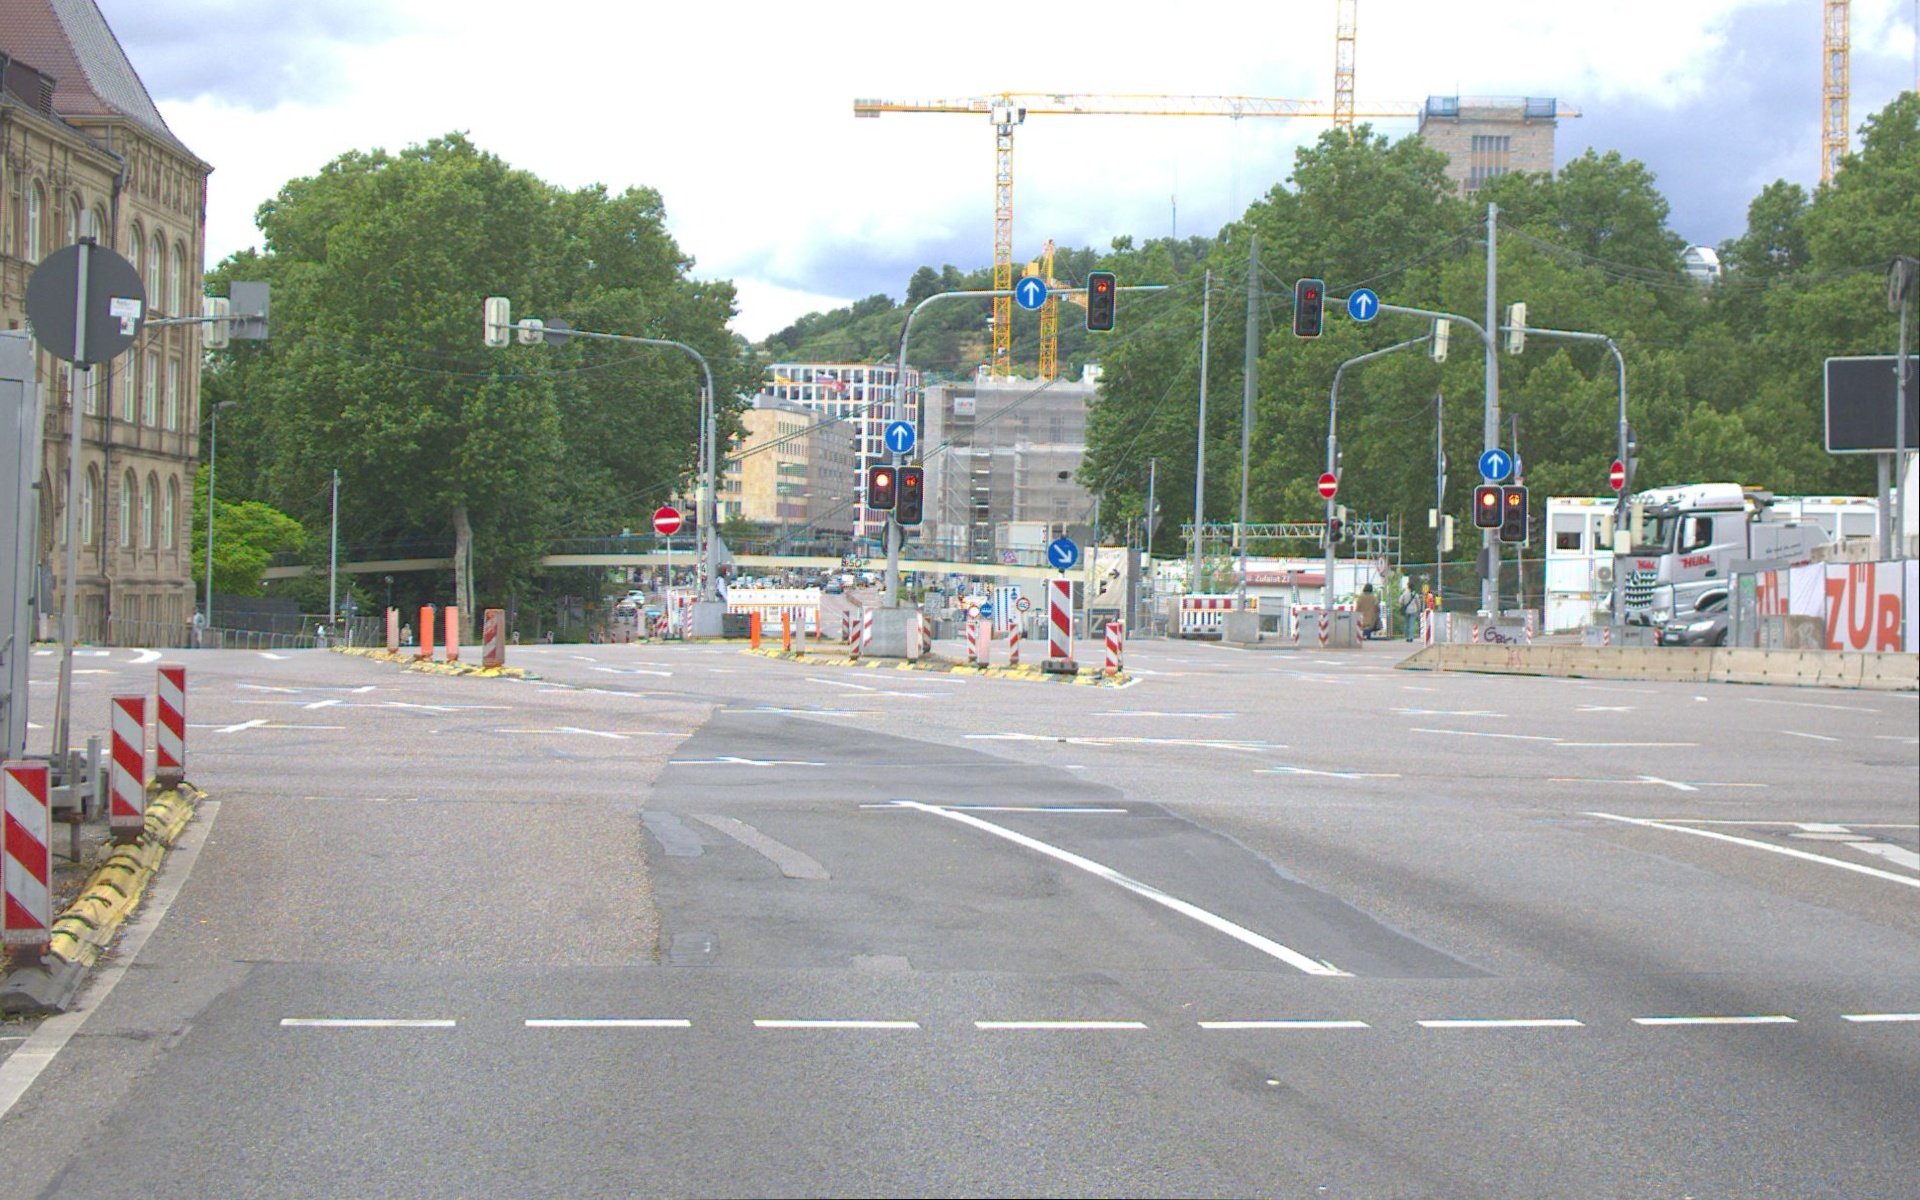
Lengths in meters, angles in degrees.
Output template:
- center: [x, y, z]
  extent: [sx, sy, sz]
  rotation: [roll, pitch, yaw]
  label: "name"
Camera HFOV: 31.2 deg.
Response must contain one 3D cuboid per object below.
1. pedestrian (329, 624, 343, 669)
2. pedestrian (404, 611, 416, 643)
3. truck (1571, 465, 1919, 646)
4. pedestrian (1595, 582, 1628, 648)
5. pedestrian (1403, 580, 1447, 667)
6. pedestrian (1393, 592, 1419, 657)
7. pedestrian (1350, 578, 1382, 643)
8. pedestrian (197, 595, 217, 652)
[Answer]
- center: [-28.045, 2.105, 154.511]
  extent: [0.524, 2.007, 0.567]
  rotation: [1, 1, 0]
  label: "pedestrian"
- center: [-28.410, 1.393, 177.472]
  extent: [0.536, 1.587, 0.516]
  rotation: [1, 1, -4]
  label: "pedestrian"
- center: [21.361, -0.996, 82.010]
  extent: [13.022, 4.027, 3.952]
  rotation: [1, 1, -20]
  label: "truck"
- center: [17.060, 0.388, 90.057]
  extent: [0.622, 1.683, 0.710]
  rotation: [2, 1, 29]
  label: "pedestrian"
- center: [9.134, 0.458, 67.521]
  extent: [0.729, 1.683, 0.678]
  rotation: [1, 1, -1]
  label: "pedestrian"
- center: [11.772, 0.647, 90.767]
  extent: [0.566, 1.683, 0.472]
  rotation: [1, 1, -1]
  label: "pedestrian"
- center: [10.716, 0.277, 90.713]
  extent: [0.729, 1.683, 0.678]
  rotation: [1, 1, -1]
  label: "pedestrian"
- center: [-26.586, 0.834, 121.366]
  extent: [0.524, 2.007, 0.567]
  rotation: [1, 1, 0]
  label: "pedestrian"
